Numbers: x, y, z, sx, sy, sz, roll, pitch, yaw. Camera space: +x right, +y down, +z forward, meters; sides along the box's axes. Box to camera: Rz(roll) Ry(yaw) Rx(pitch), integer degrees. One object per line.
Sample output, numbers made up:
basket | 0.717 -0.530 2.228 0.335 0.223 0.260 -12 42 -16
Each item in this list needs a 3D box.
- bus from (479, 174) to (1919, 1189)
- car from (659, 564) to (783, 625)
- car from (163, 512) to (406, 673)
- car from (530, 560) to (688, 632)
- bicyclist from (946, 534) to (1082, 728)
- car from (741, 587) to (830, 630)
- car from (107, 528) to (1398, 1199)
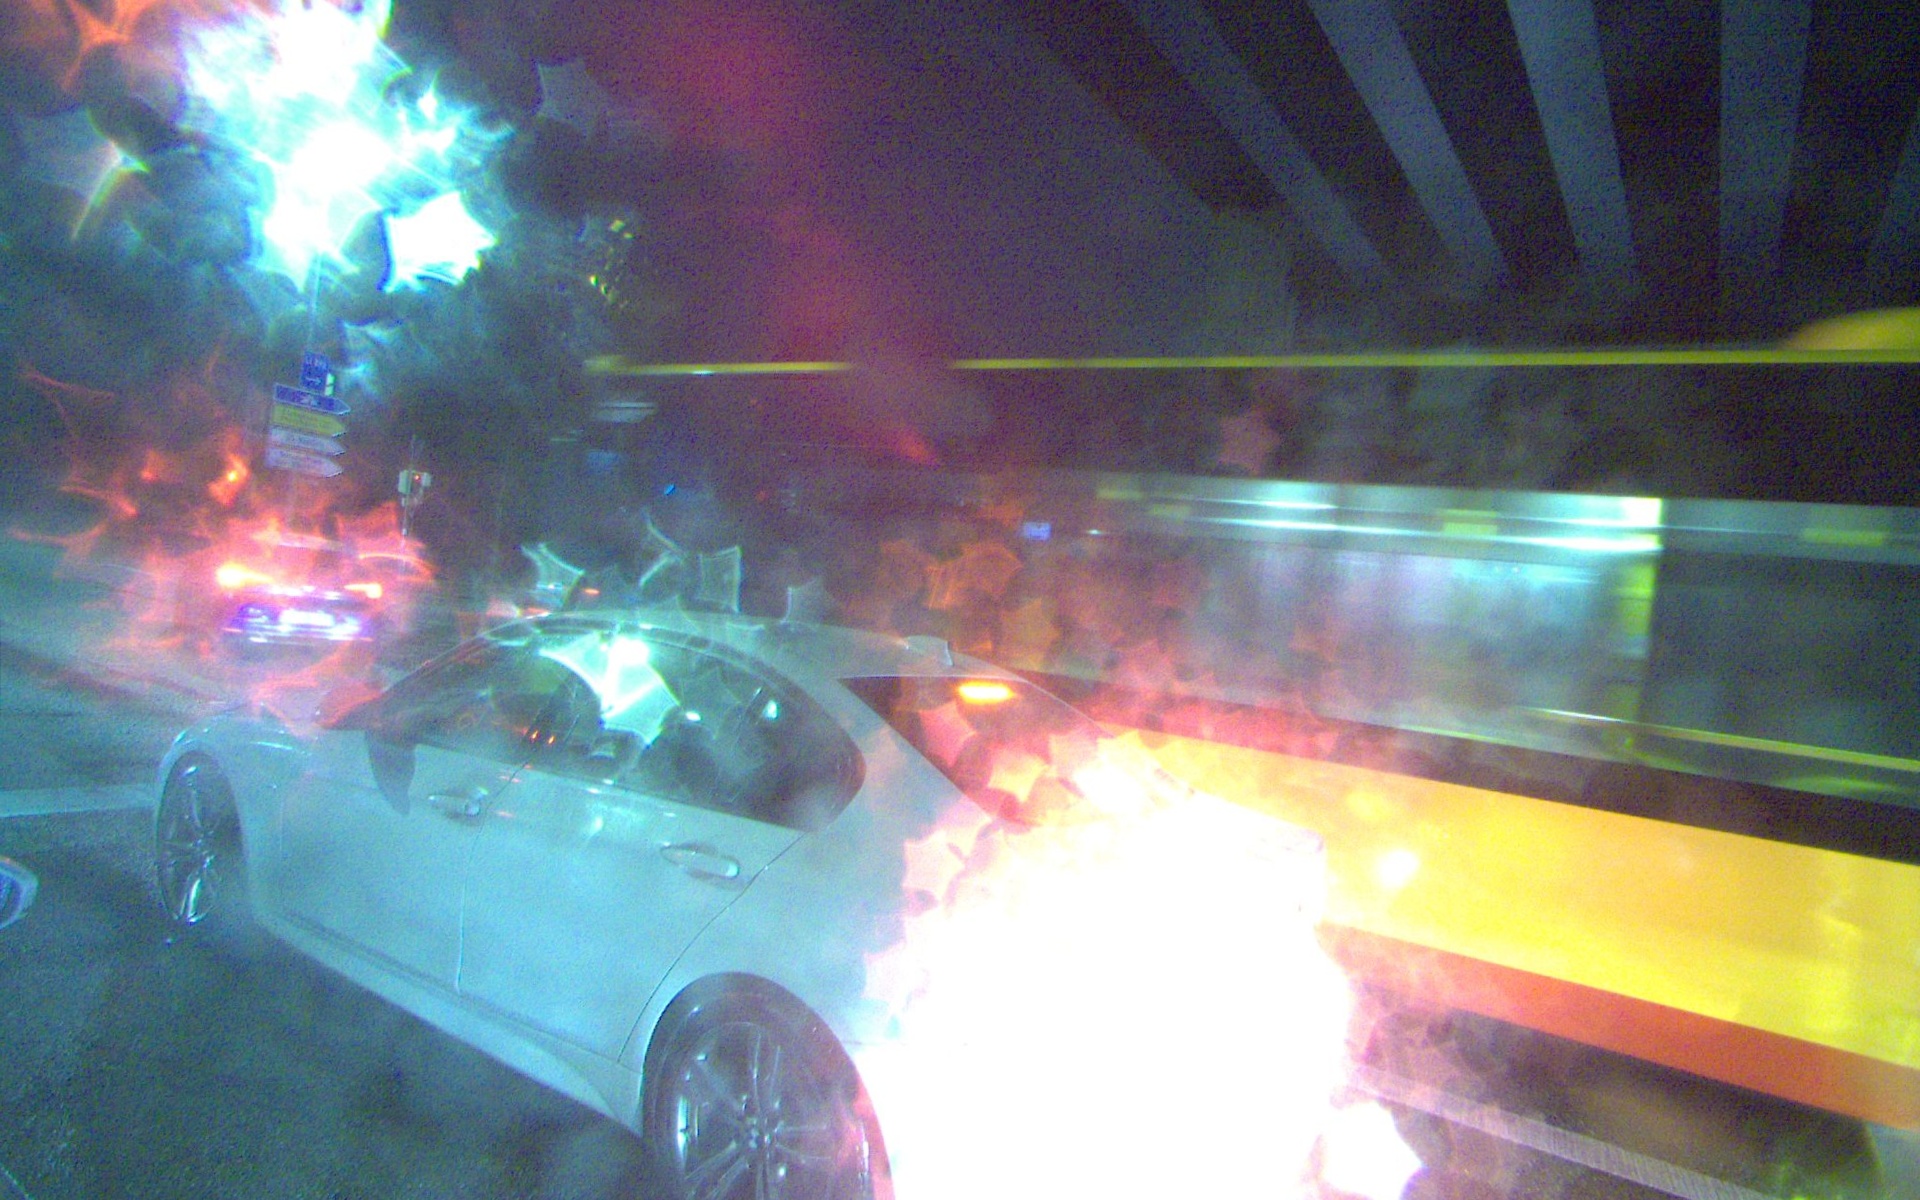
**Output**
bus | 1.968 0.136 5.303 9.593 3.160 2.776 7 -1 29
car | -10.153 -0.188 43.169 1.967 2.008 5.099 7 -1 32
car | -8.425 -0.148 12.412 1.746 1.448 3.712 9 0 -44
car | -9.216 -0.035 26.873 1.724 1.406 4.572 8 -2 12
bicyclist | 0.546 0.314 10.006 0.886 1.783 0.798 6 -1 31
car | -8.776 0.458 50.939 1.767 1.699 4.419 7 -1 32
car | -0.968 0.707 3.508 4.277 1.420 1.720 6 -2 32
